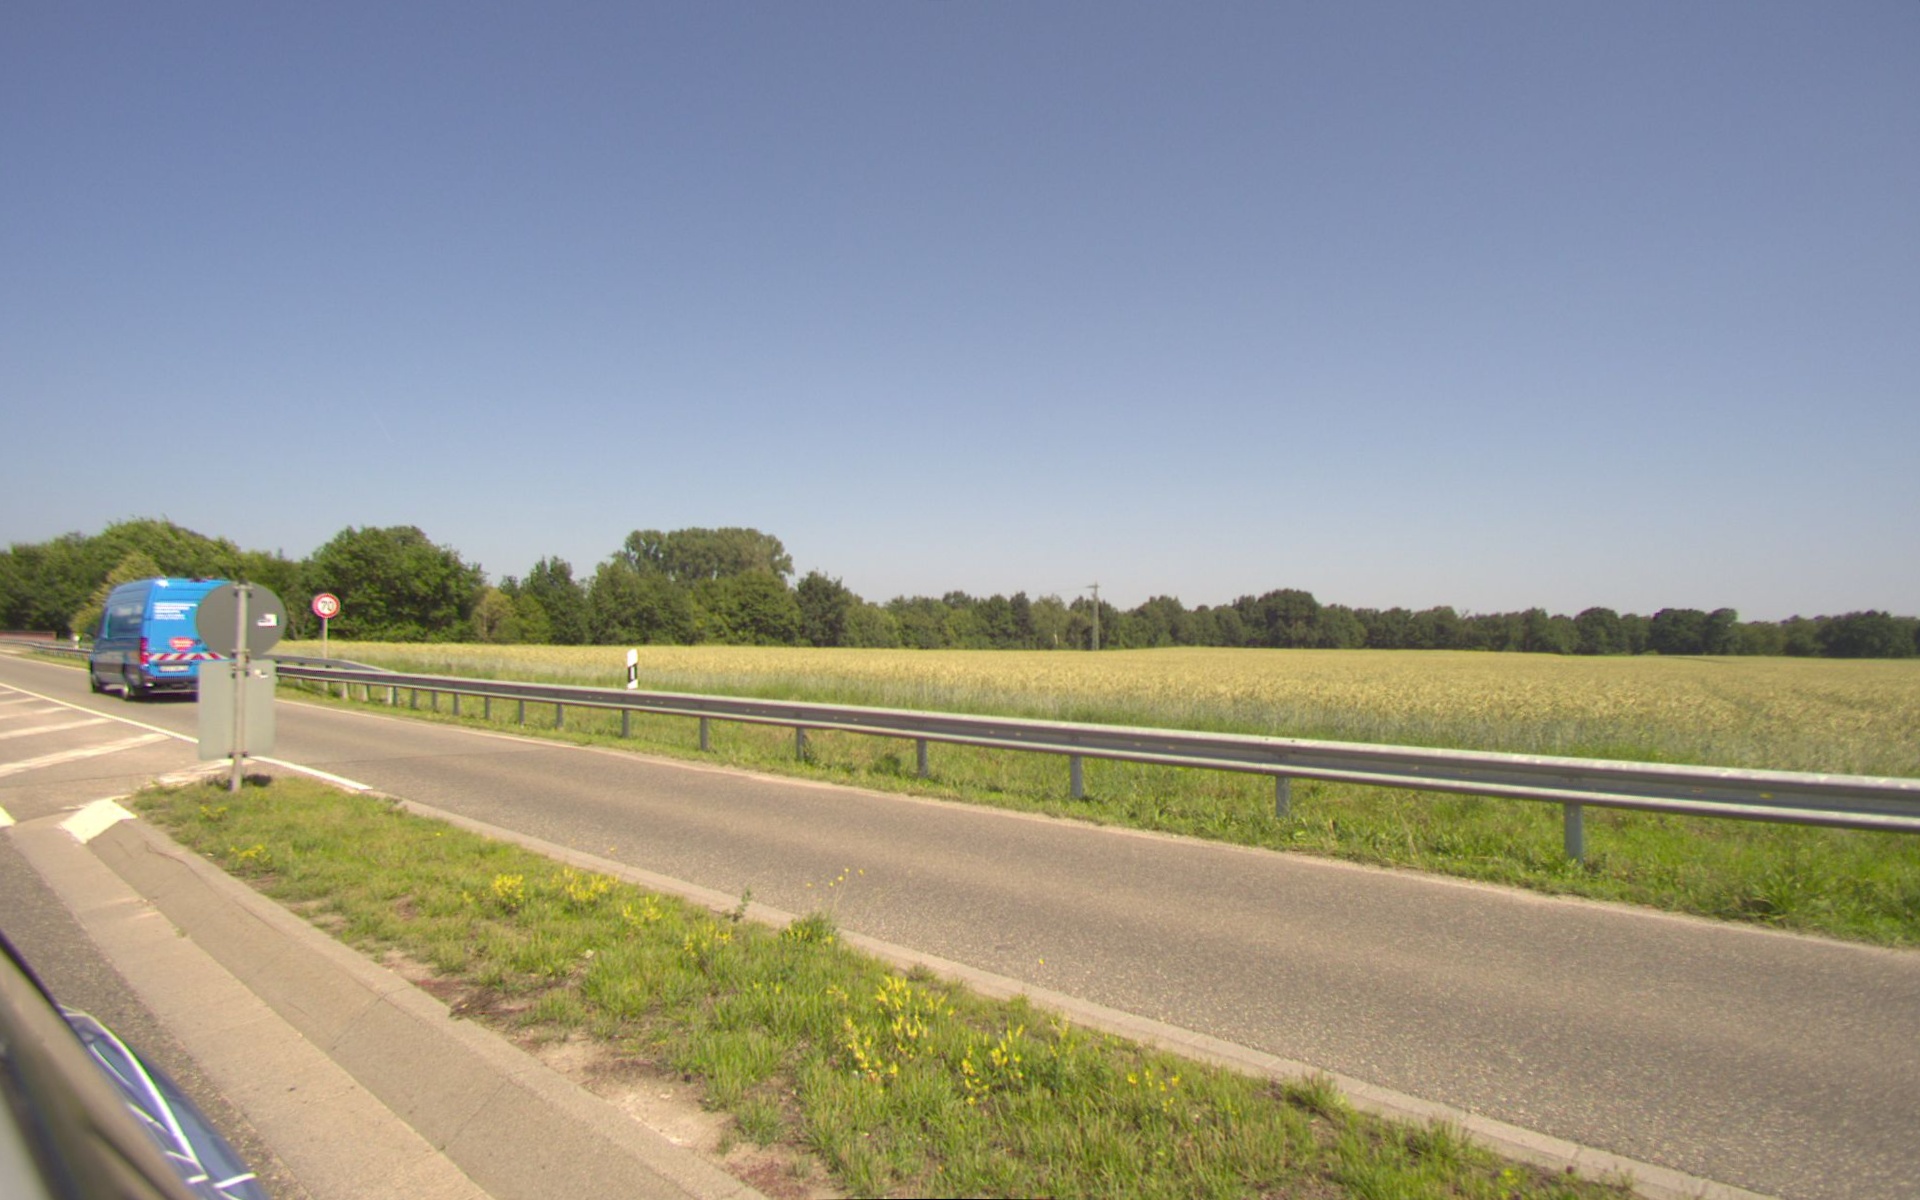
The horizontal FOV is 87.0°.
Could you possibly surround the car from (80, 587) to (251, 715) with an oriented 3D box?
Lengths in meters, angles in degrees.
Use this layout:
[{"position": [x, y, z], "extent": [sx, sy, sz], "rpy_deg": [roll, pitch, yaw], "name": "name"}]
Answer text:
[{"position": [-19.025, 1.184, 24.053], "extent": [7.289, 2.631, 1.972], "rpy_deg": [-2, -3, 42], "name": "car"}]
